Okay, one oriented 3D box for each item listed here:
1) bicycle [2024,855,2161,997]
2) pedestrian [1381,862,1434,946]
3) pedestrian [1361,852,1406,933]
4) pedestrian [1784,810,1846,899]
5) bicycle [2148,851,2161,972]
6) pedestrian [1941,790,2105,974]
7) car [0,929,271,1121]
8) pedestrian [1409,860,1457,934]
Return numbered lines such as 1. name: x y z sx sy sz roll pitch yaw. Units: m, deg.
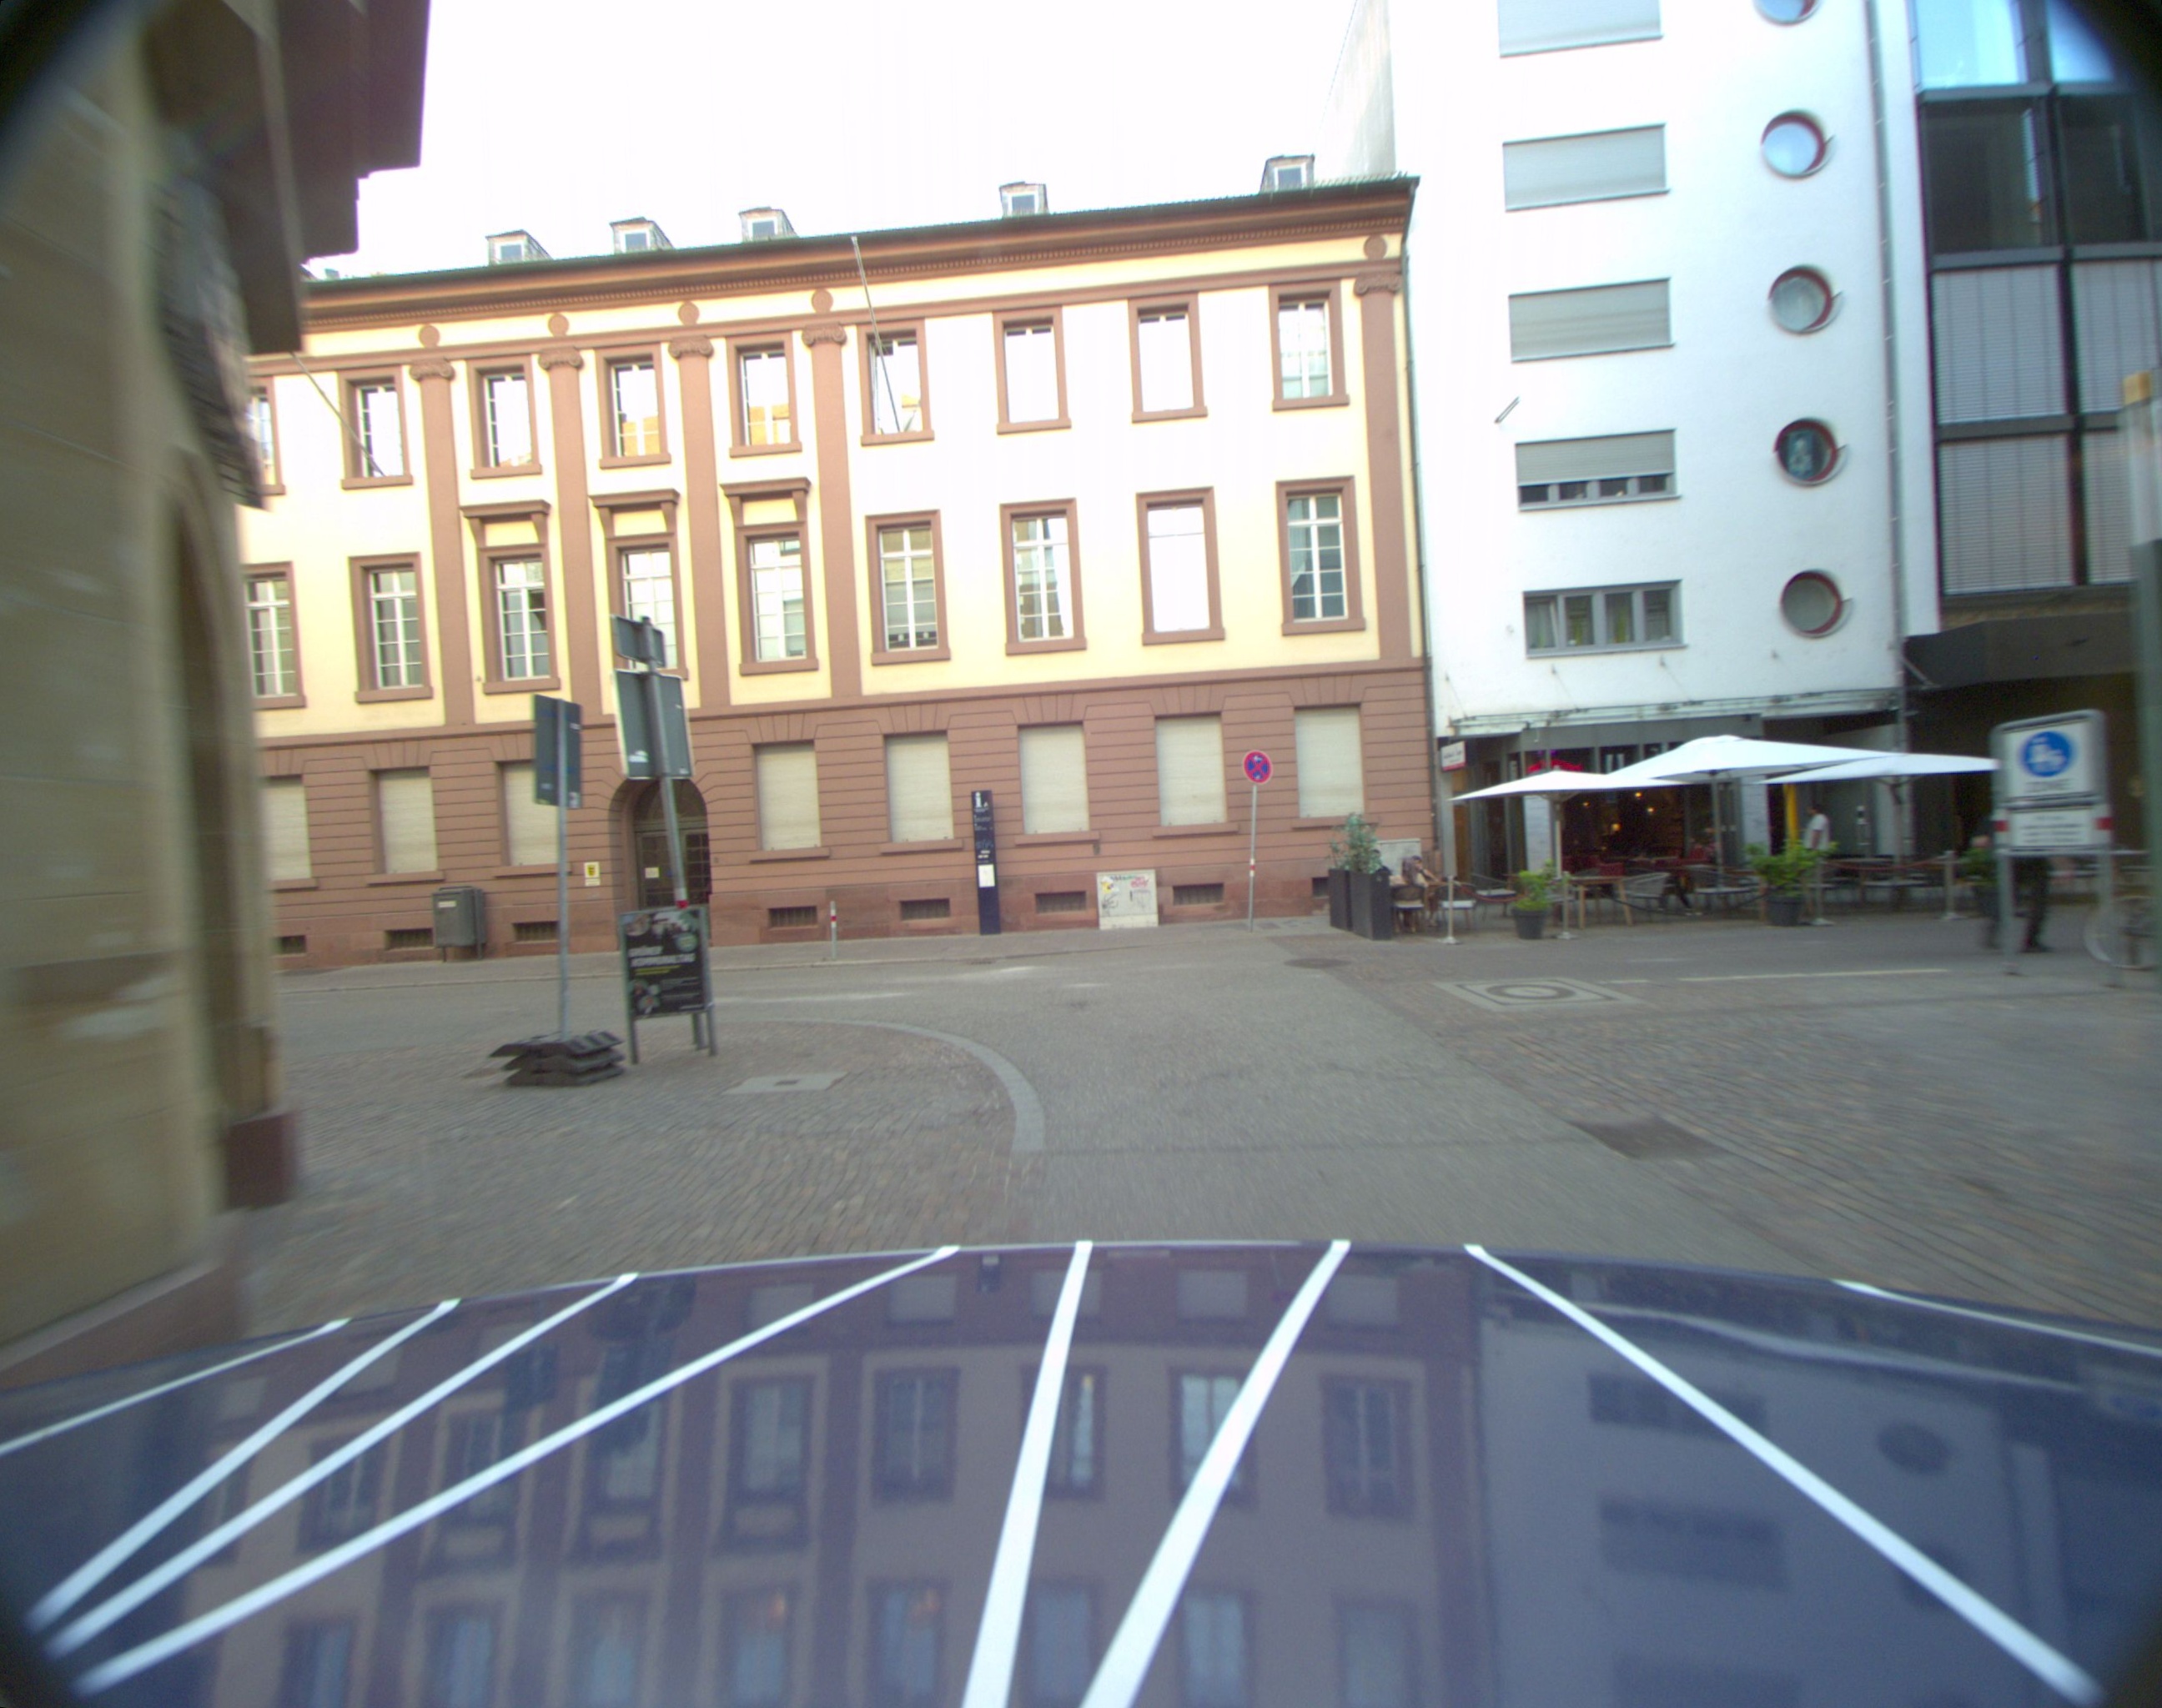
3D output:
1. bicycle: 8.948 0.569 6.072 0.709 1.106 1.674 -3 -1 2
2. pedestrian: 4.931 0.744 11.490 0.561 1.204 0.461 -3 1 5
3. pedestrian: 5.188 0.649 13.047 0.548 1.341 0.489 -3 1 5
4. pedestrian: 14.168 0.009 14.672 0.671 1.656 0.623 -4 1 -25
5. bicycle: 10.491 0.511 6.319 0.609 1.143 1.842 -3 -1 2
6. pedestrian: 9.824 0.267 7.942 0.969 1.775 0.739 -3 1 -17
7. car: -10.970 1.693 7.607 3.996 1.435 1.650 -3 3 4
8. pedestrian: 5.958 0.714 12.872 0.548 1.204 0.524 -3 1 5
